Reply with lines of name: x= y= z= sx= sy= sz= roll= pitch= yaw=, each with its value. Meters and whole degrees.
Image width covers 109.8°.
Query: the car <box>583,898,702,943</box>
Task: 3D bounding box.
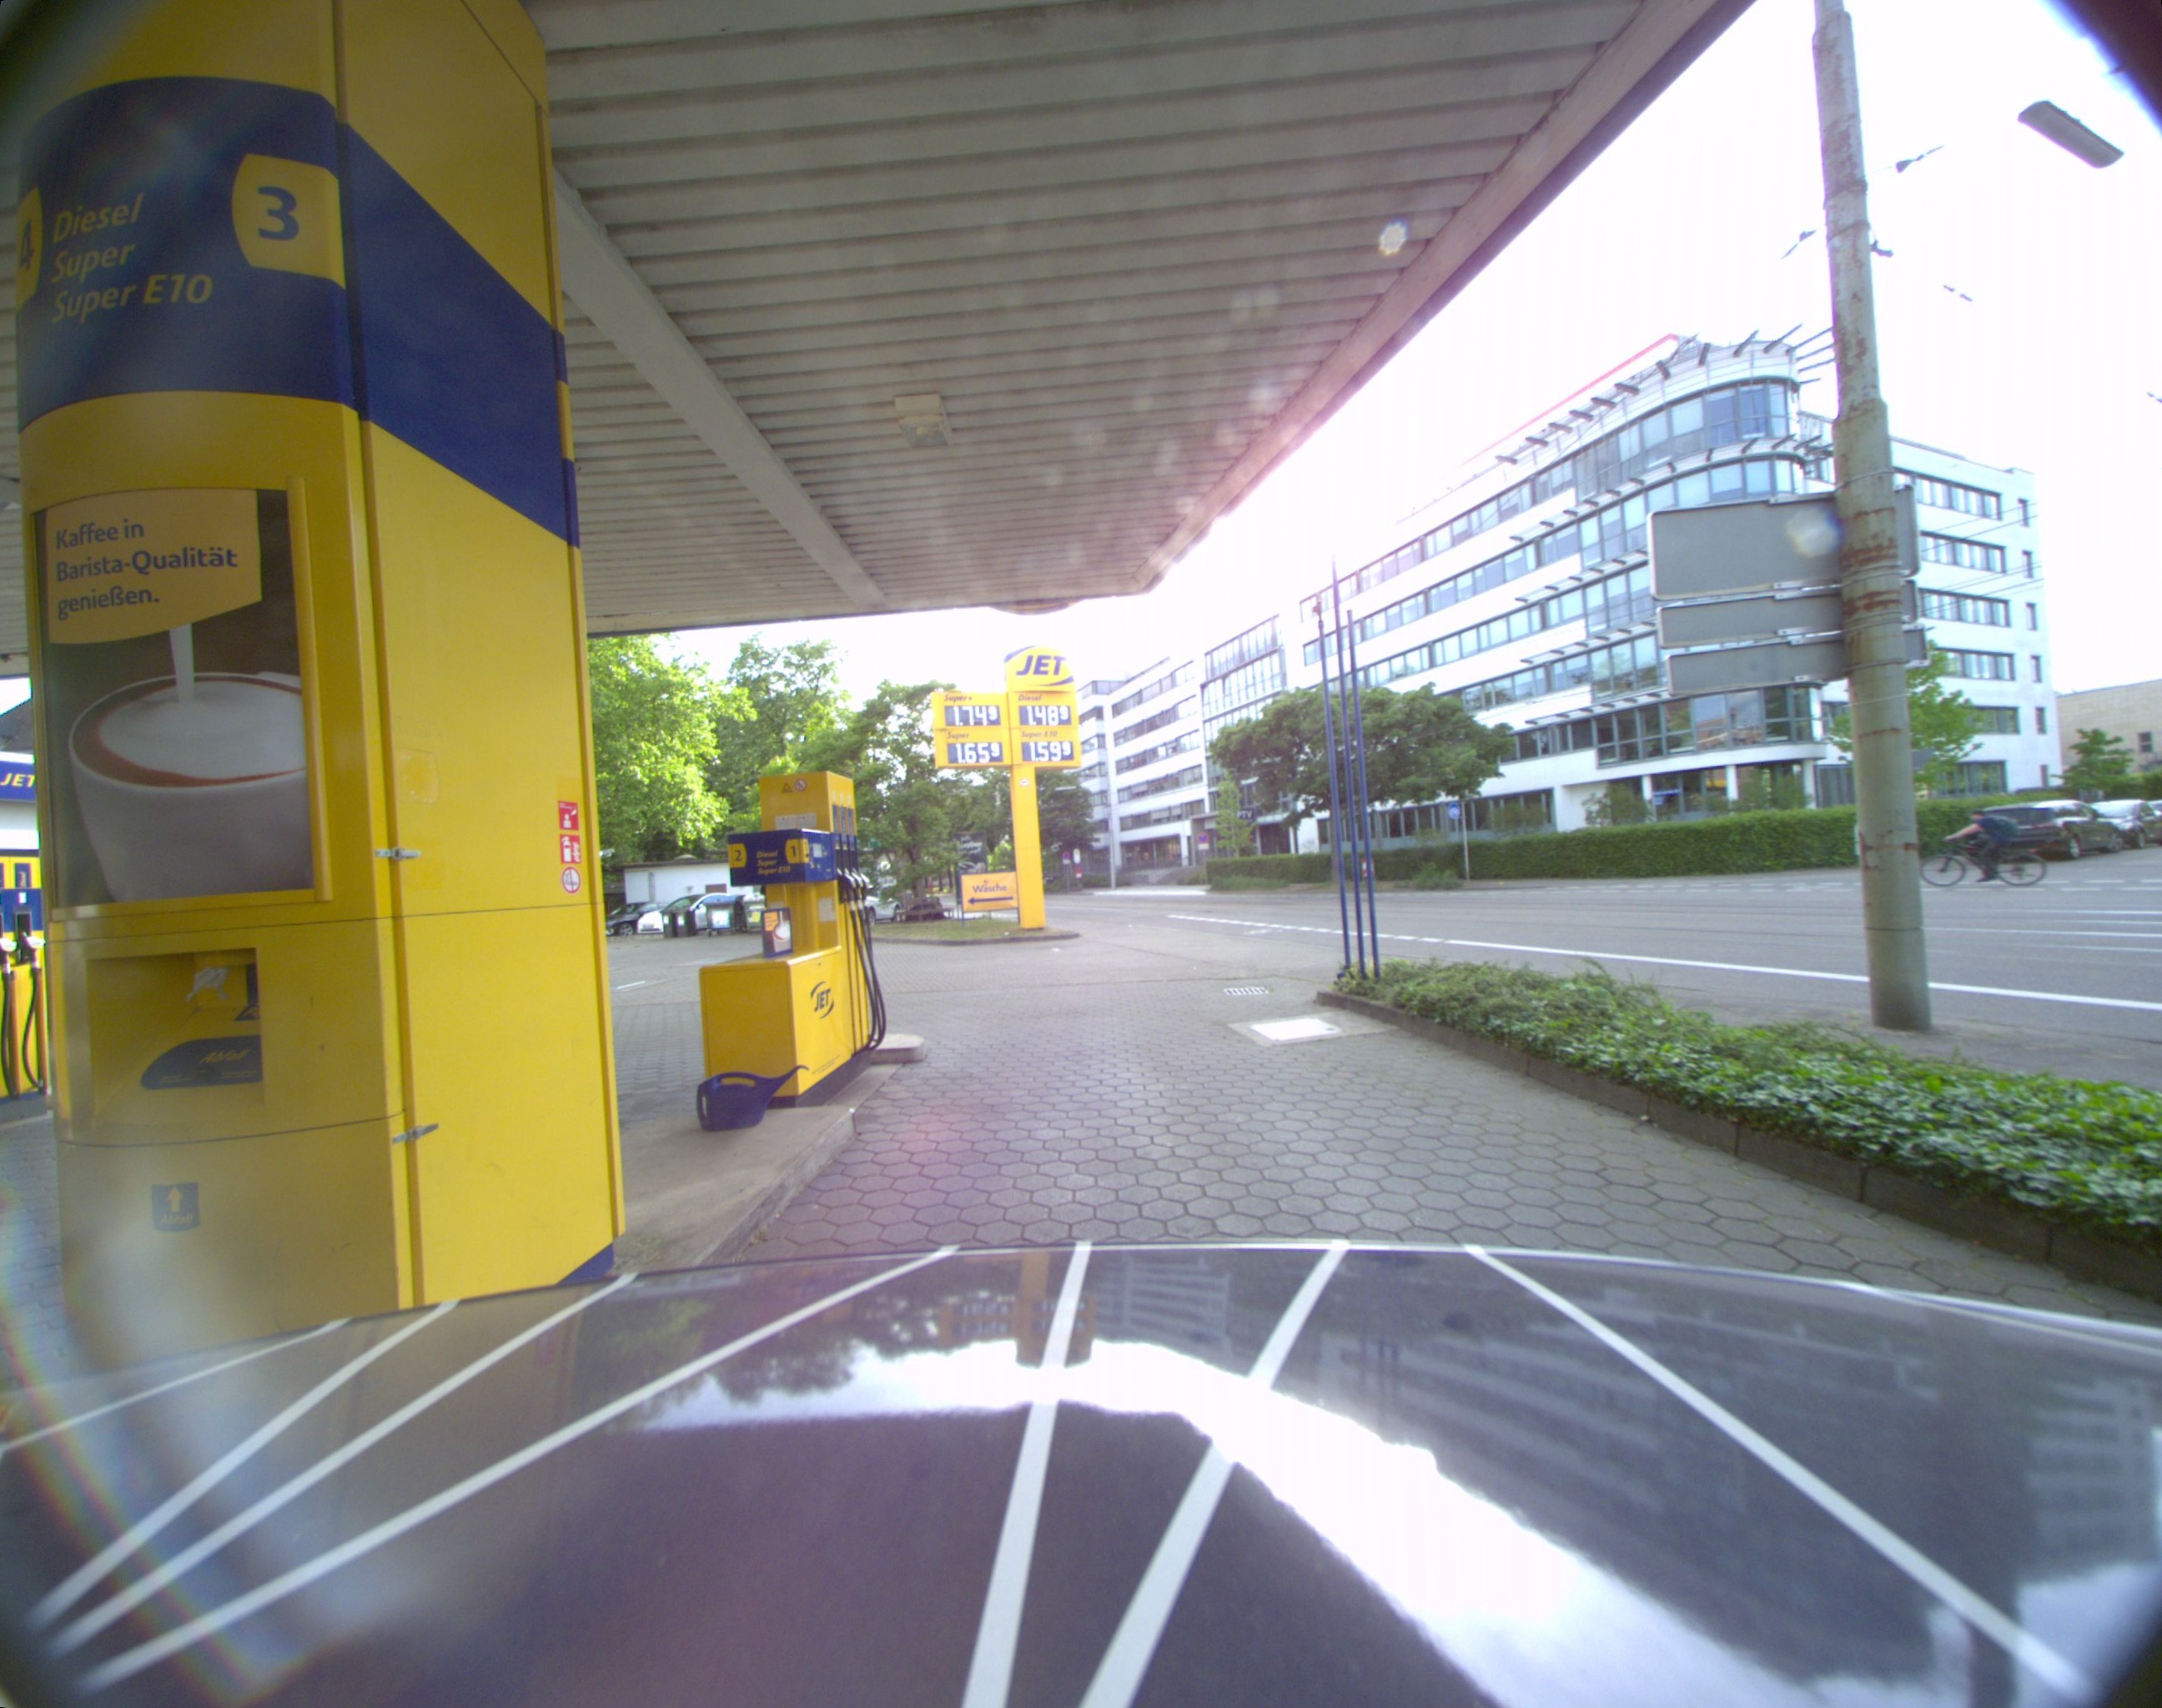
car: x=-17.520 y=2.627 z=30.614 sx=1.823 sy=1.426 sz=4.200 roll=-4 pitch=-2 yaw=10

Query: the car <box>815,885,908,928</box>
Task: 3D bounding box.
car: x=-8.643 y=2.044 z=30.383 sx=1.823 sy=1.449 sz=4.200 roll=-4 pitch=-2 yaw=10

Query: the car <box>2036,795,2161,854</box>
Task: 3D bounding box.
car: x=32.590 y=-0.956 z=24.072 sx=4.201 sy=1.568 sz=1.820 roll=-4 pitch=-1 yaw=-24

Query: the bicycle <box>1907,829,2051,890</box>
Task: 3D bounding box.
bicycle: x=19.546 y=0.126 z=16.592 sx=0.792 sy=1.232 sz=1.879 roll=-3 pitch=1 yaw=-26

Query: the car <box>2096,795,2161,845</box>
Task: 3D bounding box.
car: x=37.119 y=-1.250 z=26.020 sx=4.201 sy=1.568 sz=1.820 roll=-4 pitch=-1 yaw=-24

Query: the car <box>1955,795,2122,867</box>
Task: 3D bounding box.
car: x=27.432 y=-0.667 z=21.762 sx=4.397 sy=1.678 sz=1.820 roll=-4 pitch=-1 yaw=-24

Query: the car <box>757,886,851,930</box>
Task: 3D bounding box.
car: x=-11.733 y=2.261 z=32.471 sx=1.823 sy=1.575 sz=4.200 roll=-4 pitch=-2 yaw=10

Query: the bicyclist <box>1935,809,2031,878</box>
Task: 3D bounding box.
bicyclist: x=19.551 y=-0.220 z=16.489 sx=0.792 sy=1.443 sz=1.174 roll=-3 pitch=1 yaw=-26

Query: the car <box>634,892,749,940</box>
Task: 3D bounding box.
car: x=-15.376 y=2.408 z=30.259 sx=1.823 sy=1.575 sz=4.200 roll=-4 pitch=-2 yaw=10
